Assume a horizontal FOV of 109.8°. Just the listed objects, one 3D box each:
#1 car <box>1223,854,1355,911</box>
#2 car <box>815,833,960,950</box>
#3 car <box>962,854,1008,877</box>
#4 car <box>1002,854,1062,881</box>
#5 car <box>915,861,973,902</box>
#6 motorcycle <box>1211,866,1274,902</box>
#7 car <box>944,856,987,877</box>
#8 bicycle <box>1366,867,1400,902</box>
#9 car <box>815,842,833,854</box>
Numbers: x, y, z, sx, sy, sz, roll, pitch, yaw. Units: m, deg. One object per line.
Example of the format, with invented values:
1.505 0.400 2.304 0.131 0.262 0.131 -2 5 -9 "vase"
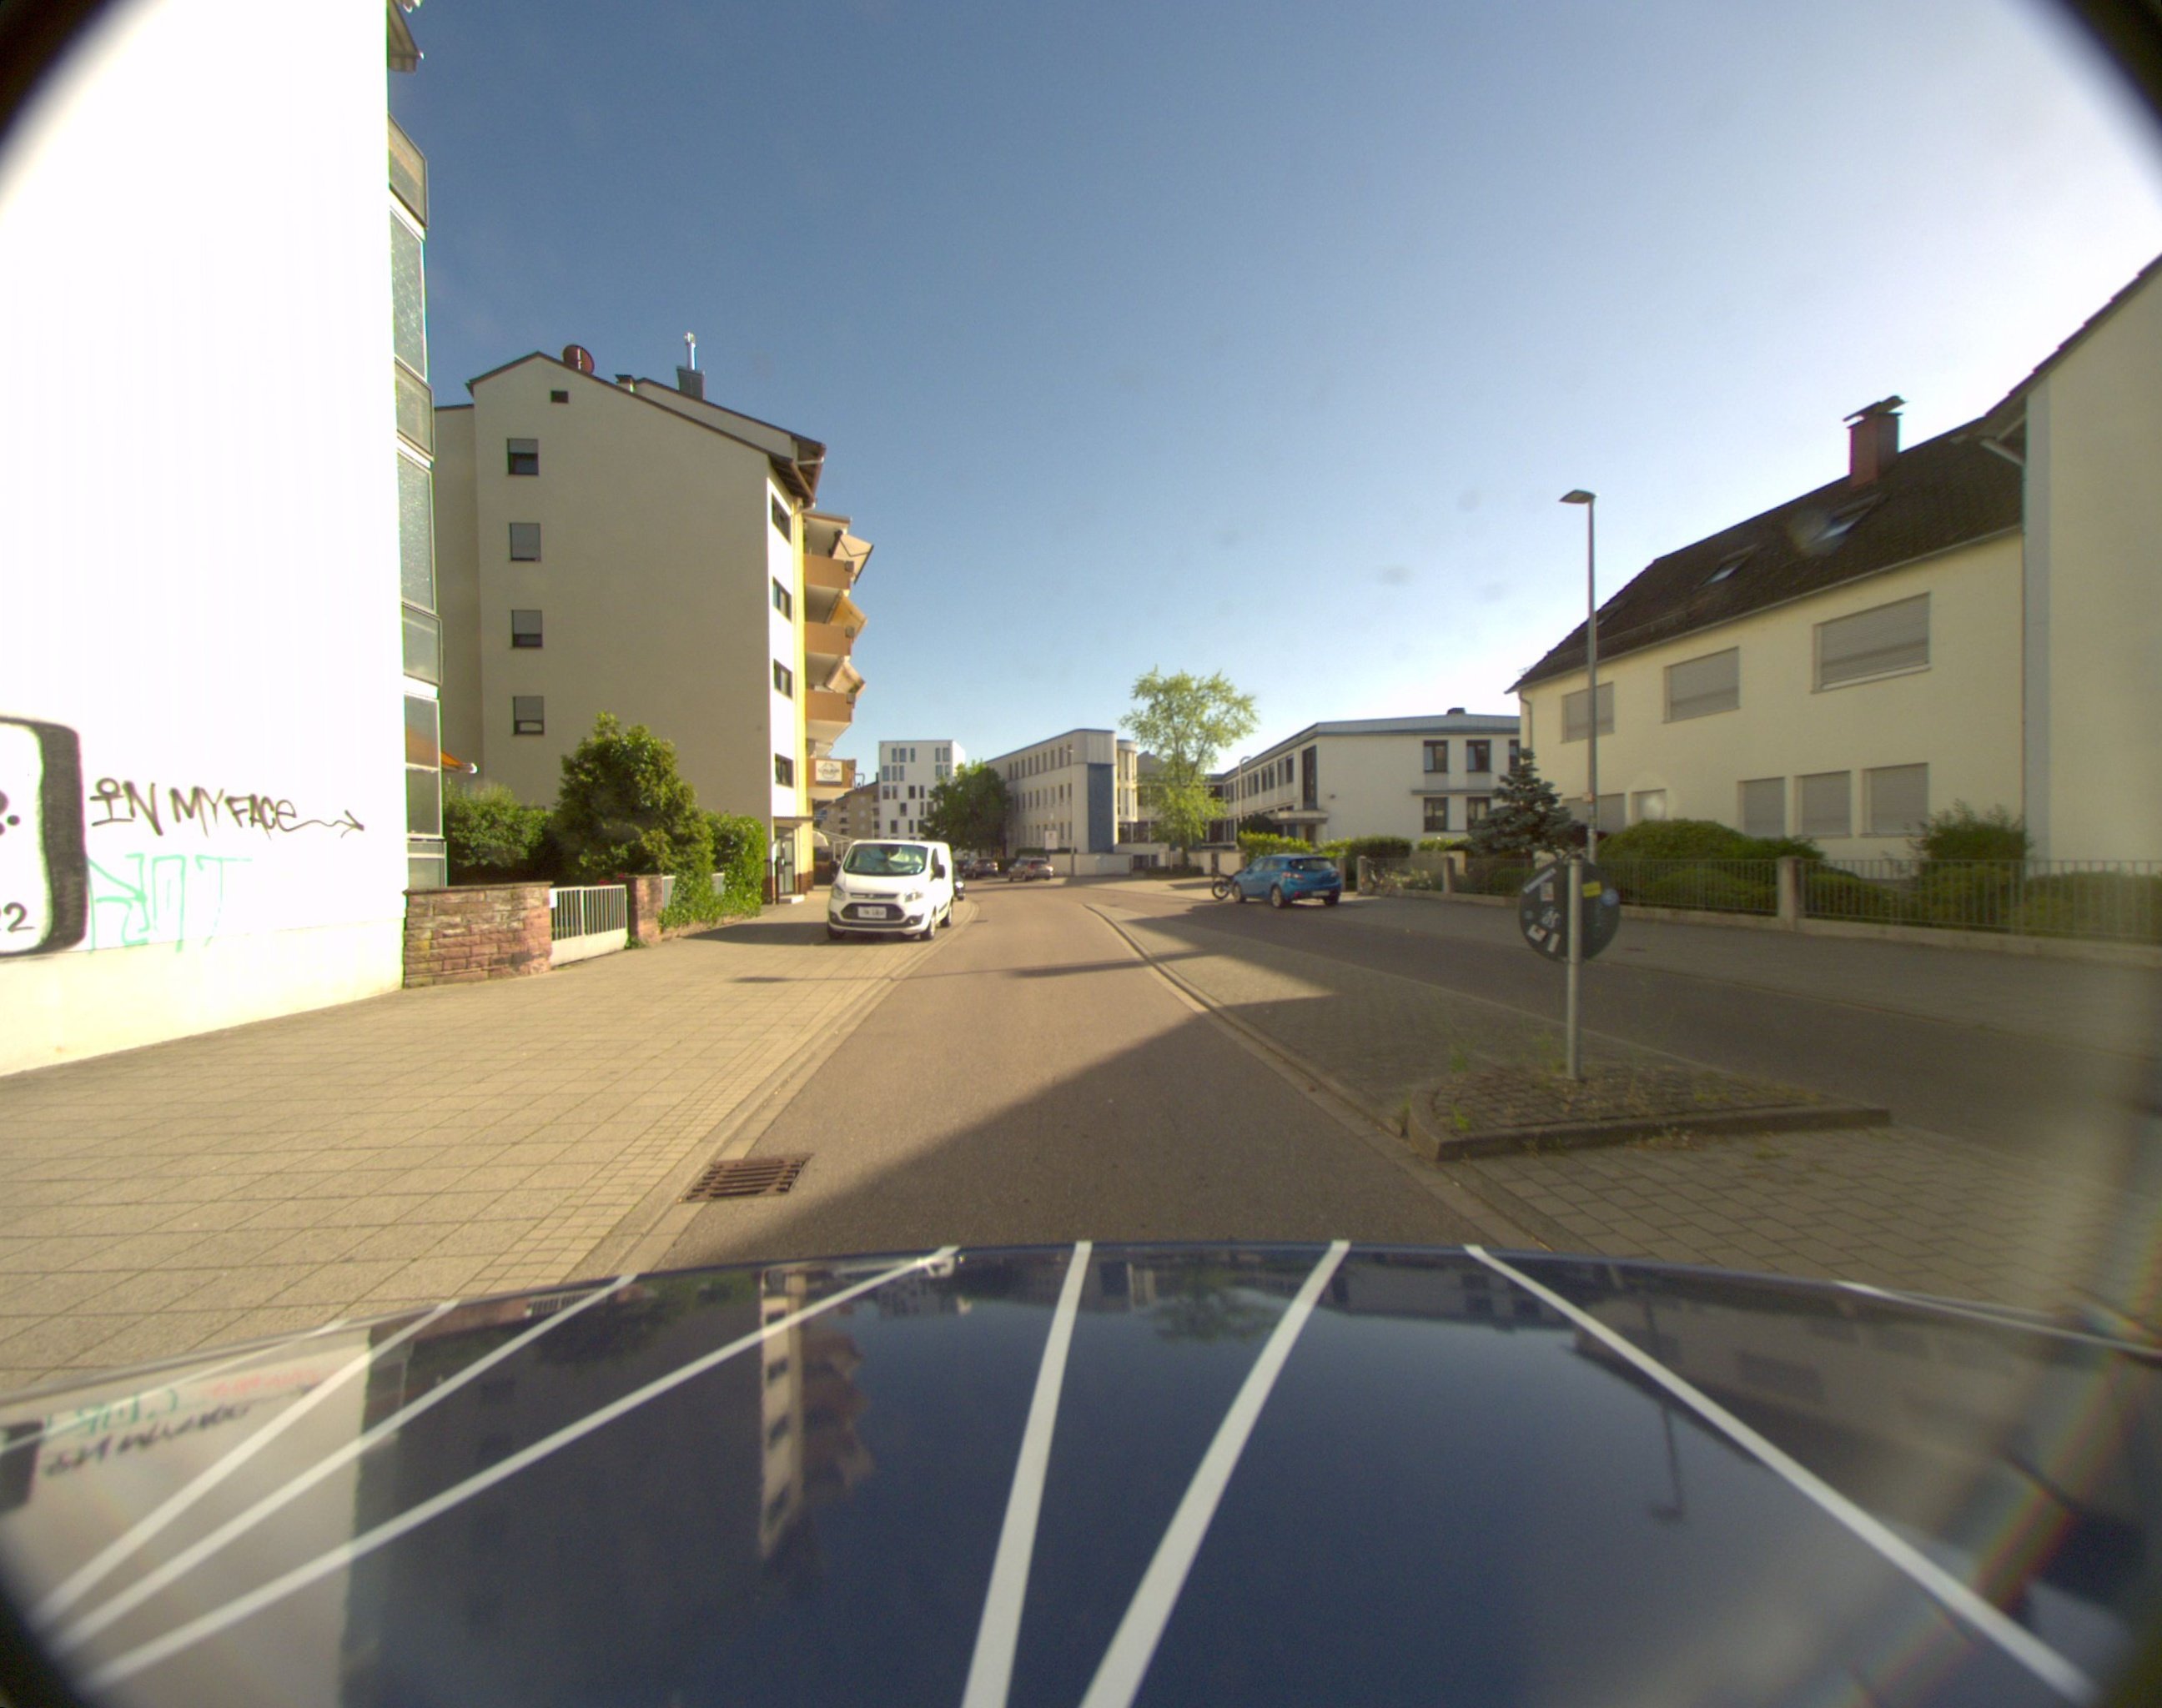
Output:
5.869 0.760 22.088 1.886 1.426 4.410 -2 0 -11 "car"
-3.808 0.678 15.865 1.999 2.002 4.795 2 0 -3 "car"
-7.524 0.887 59.107 2.142 1.604 4.825 -3 1 -25 "car"
-3.278 0.843 50.102 2.142 1.604 4.825 -3 1 -27 "car"
-5.458 1.041 29.854 1.760 1.386 3.994 3 -1 -16 "car"
5.325 0.991 25.050 1.960 1.089 0.591 -2 0 17 "motorcycle"
-9.780 1.002 63.994 2.142 1.604 4.825 -3 1 -25 "car"
9.194 0.917 23.147 0.346 1.009 1.262 0 0 -10 "bicycle"
-41.632 -1.000 123.065 2.142 1.726 4.825 -3 1 -25 "car"
